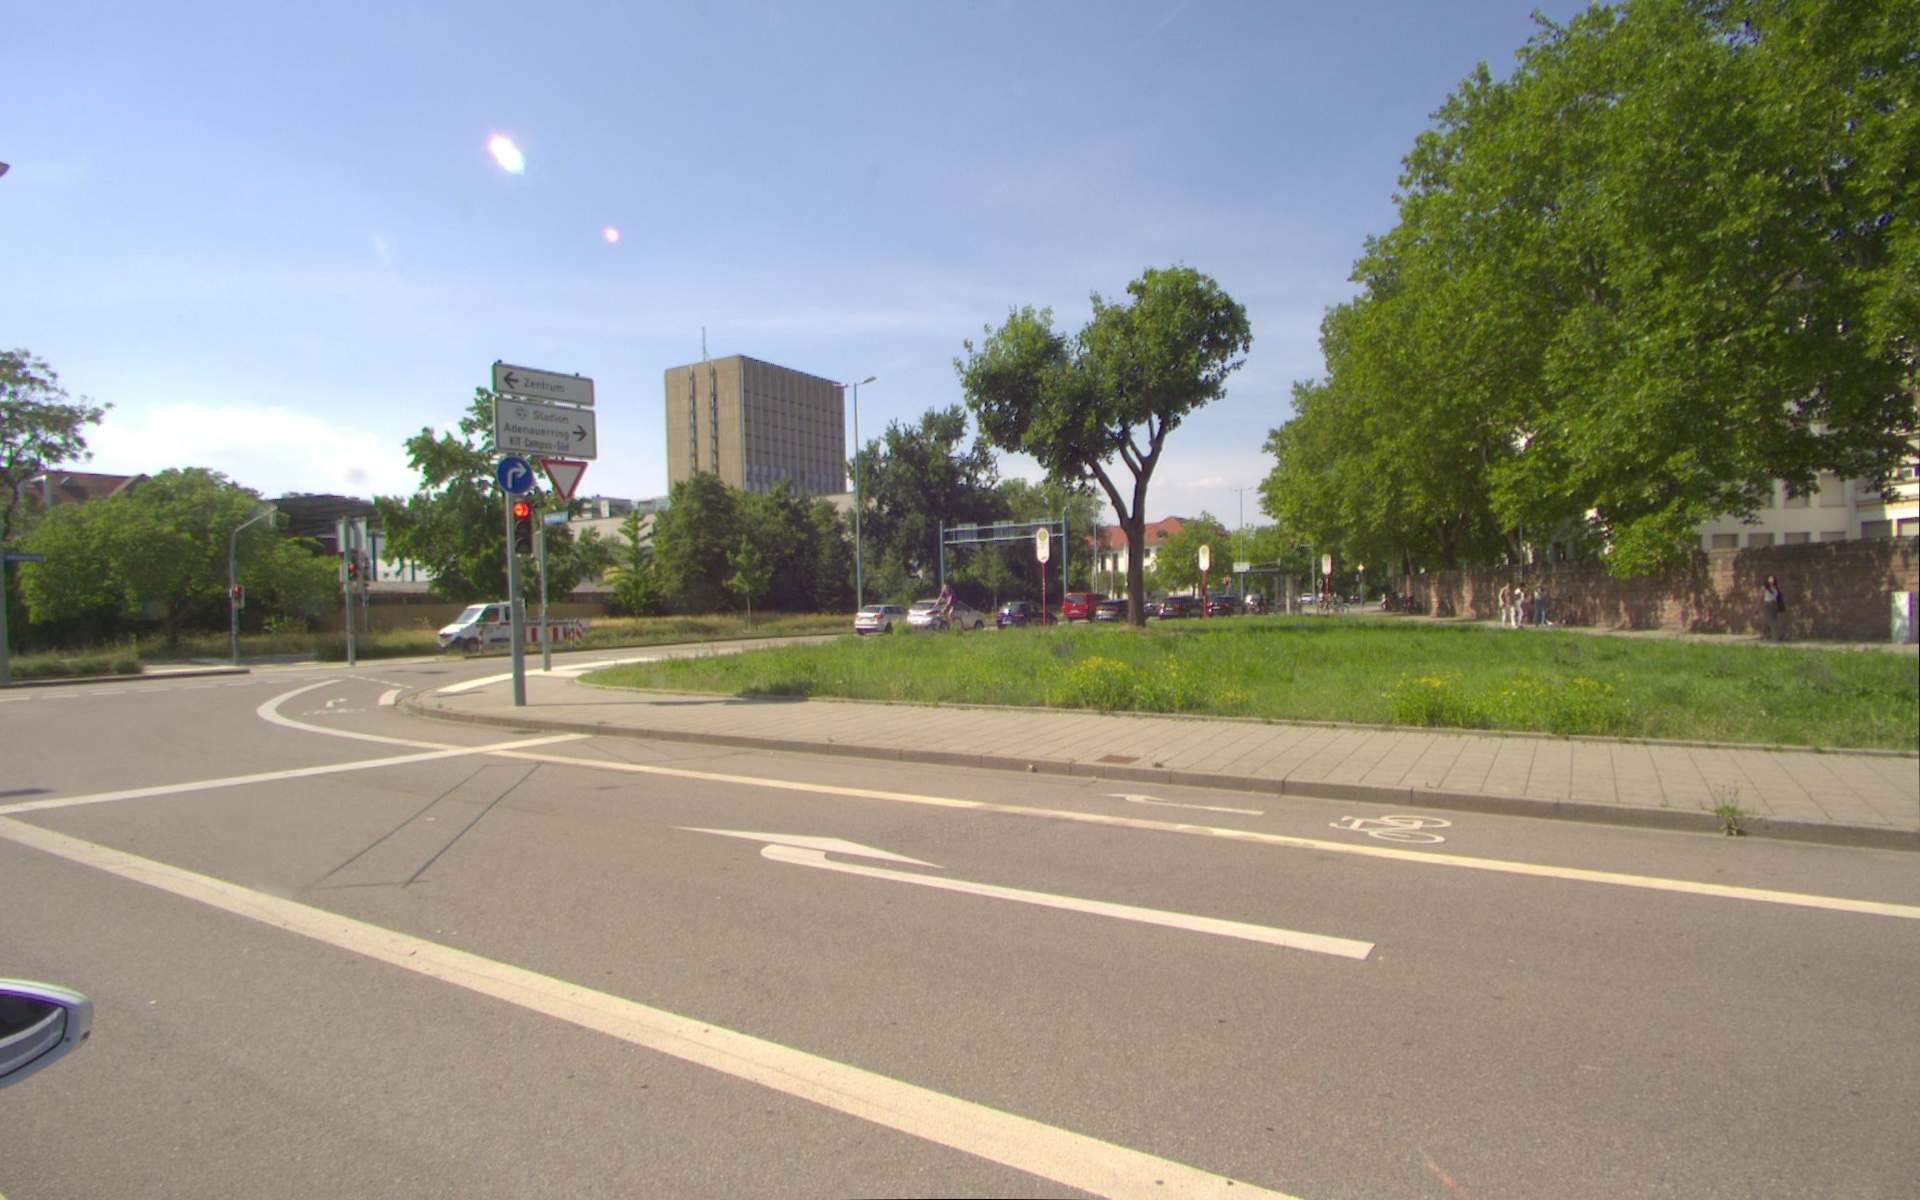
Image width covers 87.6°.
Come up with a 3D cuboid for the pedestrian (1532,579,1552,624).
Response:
[{"bbox_3d":[20.789,0.056,35.772,0.515,1.599,0.701,-1,1,23],"label":"pedestrian"}]

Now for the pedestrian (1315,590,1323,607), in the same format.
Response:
[{"bbox_3d":[31.894,-0.132,88.990,0.552,1.458,0.729,0,1,30],"label":"pedestrian"}]

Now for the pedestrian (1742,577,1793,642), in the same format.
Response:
[{"bbox_3d":[20.024,0.232,24.843,0.493,1.569,0.913,-1,1,-2],"label":"pedestrian"}]

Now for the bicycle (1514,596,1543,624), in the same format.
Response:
[{"bbox_3d":[21.853,0.371,38.521,0.439,1.047,1.447,-1,1,6],"label":"bicycle"}]

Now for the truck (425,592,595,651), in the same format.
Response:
[{"bbox_3d":[-20.720,0.940,46.546,2.380,2.386,7.007,-3,0,33],"label":"truck"}]

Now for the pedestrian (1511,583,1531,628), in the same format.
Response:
[{"bbox_3d":[20.154,0.185,35.975,0.515,1.599,0.701,-1,1,23],"label":"pedestrian"}]

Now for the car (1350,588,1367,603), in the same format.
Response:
[{"bbox_3d":[56.033,-0.605,140.862,1.968,2.039,3.987,-1,-2,26],"label":"car"}]

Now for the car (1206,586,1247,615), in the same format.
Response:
[{"bbox_3d":[20.063,0.037,75.240,1.970,2.041,3.980,-1,1,30],"label":"car"}]

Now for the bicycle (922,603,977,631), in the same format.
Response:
[{"bbox_3d":[-0.349,0.572,34.572,1.912,0.899,0.679,-2,1,-42],"label":"bicycle"}]

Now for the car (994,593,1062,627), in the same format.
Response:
[{"bbox_3d":[3.530,0.510,51.535,1.564,1.612,3.972,-1,1,37],"label":"car"}]

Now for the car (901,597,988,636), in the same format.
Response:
[{"bbox_3d":[-0.676,0.742,46.256,1.691,1.640,4.183,-1,1,40],"label":"car"}]

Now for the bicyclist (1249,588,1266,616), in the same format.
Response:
[{"bbox_3d":[22.347,0.174,75.185,0.769,2.039,1.265,-1,-2,38],"label":"bicyclist"}]

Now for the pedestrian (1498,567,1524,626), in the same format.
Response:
[{"bbox_3d":[19.259,-0.121,34.995,0.513,2.040,0.596,-2,1,-9],"label":"pedestrian"}]

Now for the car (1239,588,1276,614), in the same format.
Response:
[{"bbox_3d":[24.457,0.092,82.267,1.970,2.041,3.980,-1,1,30],"label":"car"}]

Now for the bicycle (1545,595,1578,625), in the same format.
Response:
[{"bbox_3d":[21.602,0.359,35.991,0.439,1.047,1.447,-1,1,6],"label":"bicycle"}]

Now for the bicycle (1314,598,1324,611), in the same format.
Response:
[{"bbox_3d":[31.935,0.398,89.047,0.552,1.066,1.318,-1,1,30],"label":"bicycle"}]

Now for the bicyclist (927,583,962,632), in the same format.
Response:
[{"bbox_3d":[-0.529,0.274,34.460,1.068,1.659,0.486,-1,1,29],"label":"bicyclist"}]

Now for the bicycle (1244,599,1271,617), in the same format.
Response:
[{"bbox_3d":[22.343,0.613,75.165,0.838,1.233,3.462,-1,-2,37],"label":"bicycle"}]

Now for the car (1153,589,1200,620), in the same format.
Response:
[{"bbox_3d":[14.761,0.293,68.139,1.970,2.041,3.980,-1,1,30],"label":"car"}]

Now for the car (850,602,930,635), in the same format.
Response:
[{"bbox_3d":[-3.253,0.853,47.308,1.562,1.439,4.147,-1,1,33],"label":"car"}]

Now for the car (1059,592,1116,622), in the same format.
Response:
[{"bbox_3d":[8.288,0.444,64.601,1.950,1.821,4.587,-1,1,31],"label":"car"}]

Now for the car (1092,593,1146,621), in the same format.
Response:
[{"bbox_3d":[9.706,0.403,61.036,1.564,1.612,3.972,-1,1,37],"label":"car"}]

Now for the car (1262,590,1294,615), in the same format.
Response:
[{"bbox_3d":[28.002,0.256,88.134,1.970,2.039,3.984,-1,-2,29],"label":"car"}]
